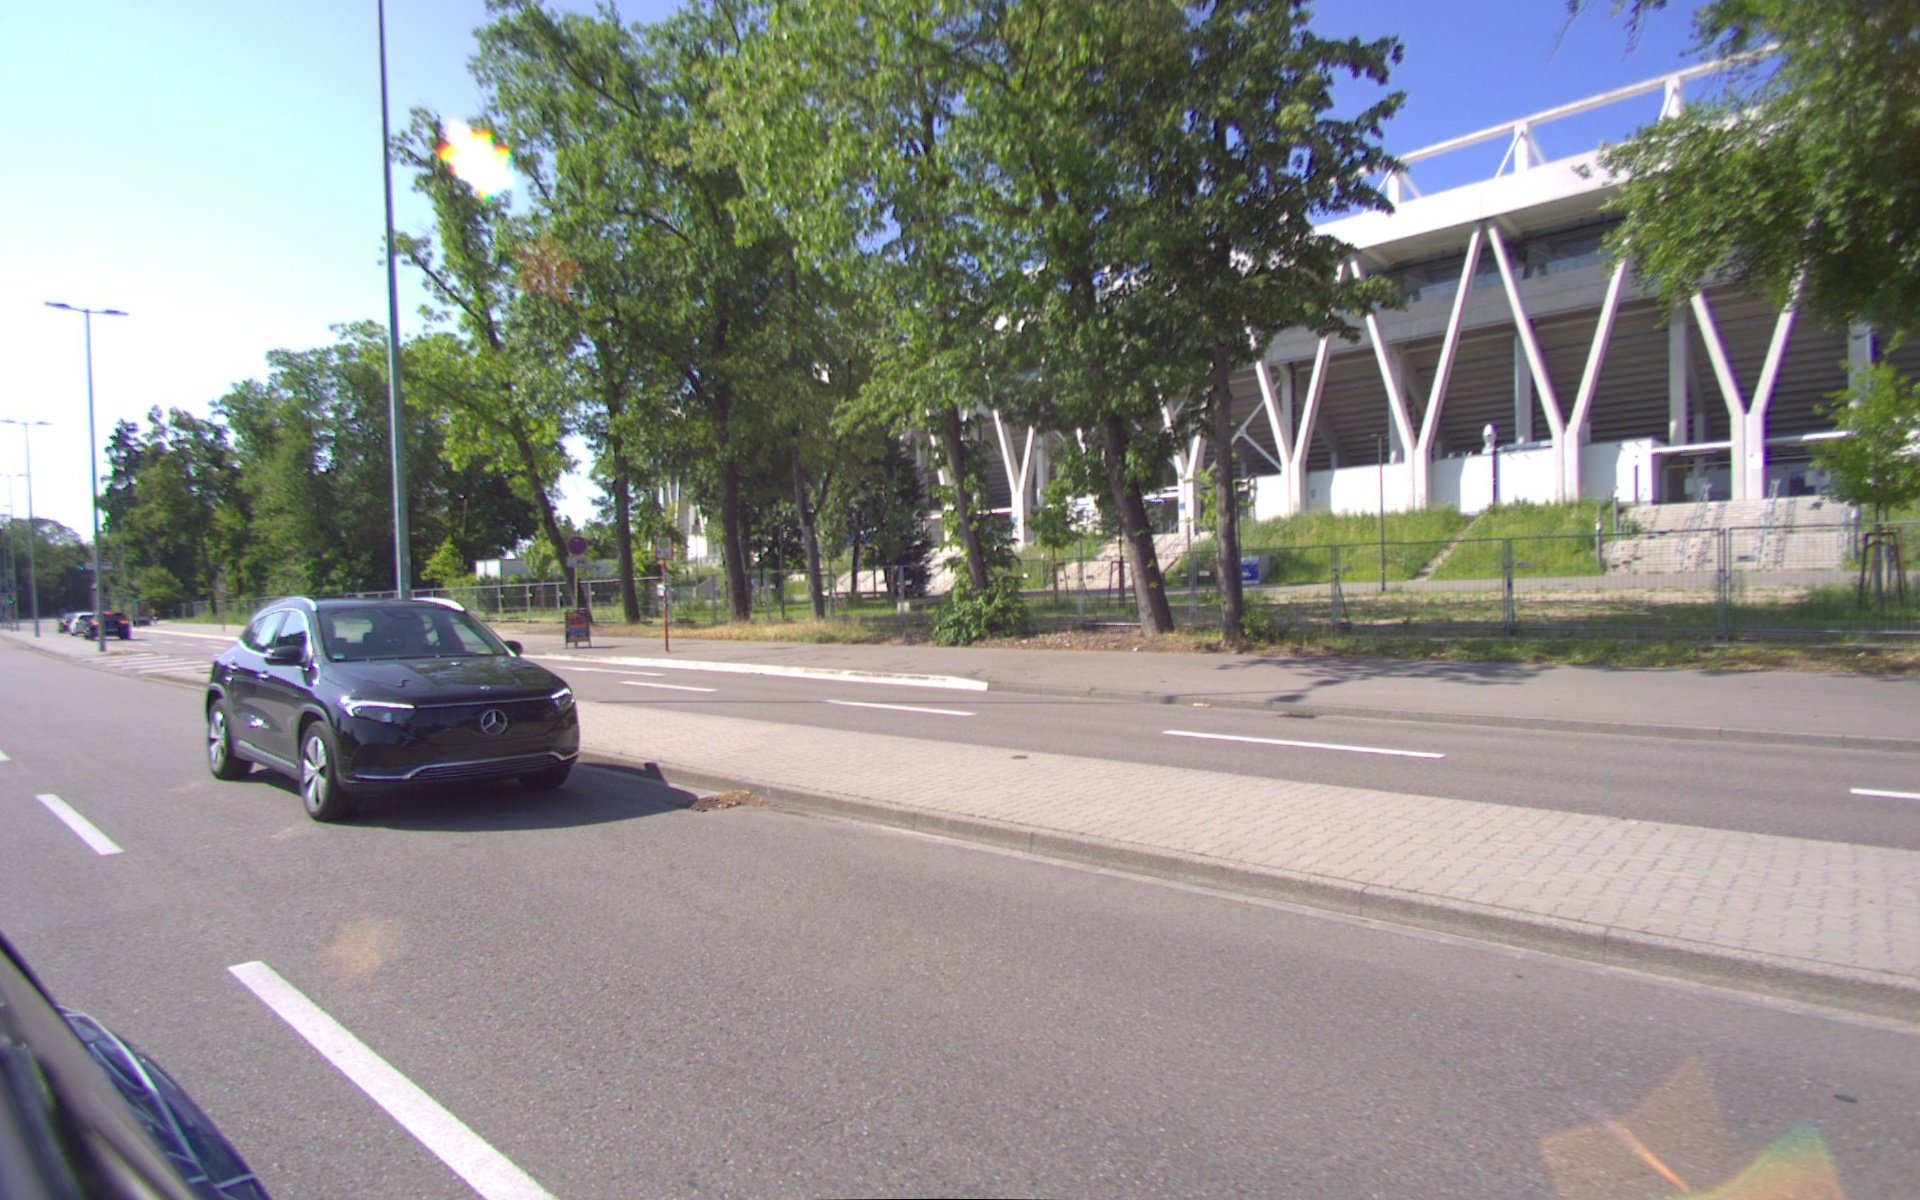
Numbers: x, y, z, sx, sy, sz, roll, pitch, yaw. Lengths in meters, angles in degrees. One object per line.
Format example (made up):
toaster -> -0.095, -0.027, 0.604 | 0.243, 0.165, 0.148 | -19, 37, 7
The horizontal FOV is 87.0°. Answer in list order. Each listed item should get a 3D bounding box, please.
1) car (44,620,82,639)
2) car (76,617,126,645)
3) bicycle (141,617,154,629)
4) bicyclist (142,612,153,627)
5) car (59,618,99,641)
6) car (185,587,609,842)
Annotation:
car -> -66.930, 2.202, 75.511 | 4.162, 1.398, 1.790 | -1, -2, 44
car -> -47.438, 1.698, 55.861 | 3.948, 1.497, 1.734 | -1, -1, 44
bicycle -> -78.978, 2.240, 98.392 | 1.879, 1.144, 0.652 | -2, 2, 44
bicyclist -> -78.898, 1.895, 98.272 | 1.057, 1.478, 0.652 | -2, 2, 44
car -> -57.136, 1.896, 65.634 | 3.801, 1.477, 1.605 | -1, -1, 43
car -> -4.872, 0.761, 8.488 | 4.271, 1.608, 1.786 | -1, -1, 41
